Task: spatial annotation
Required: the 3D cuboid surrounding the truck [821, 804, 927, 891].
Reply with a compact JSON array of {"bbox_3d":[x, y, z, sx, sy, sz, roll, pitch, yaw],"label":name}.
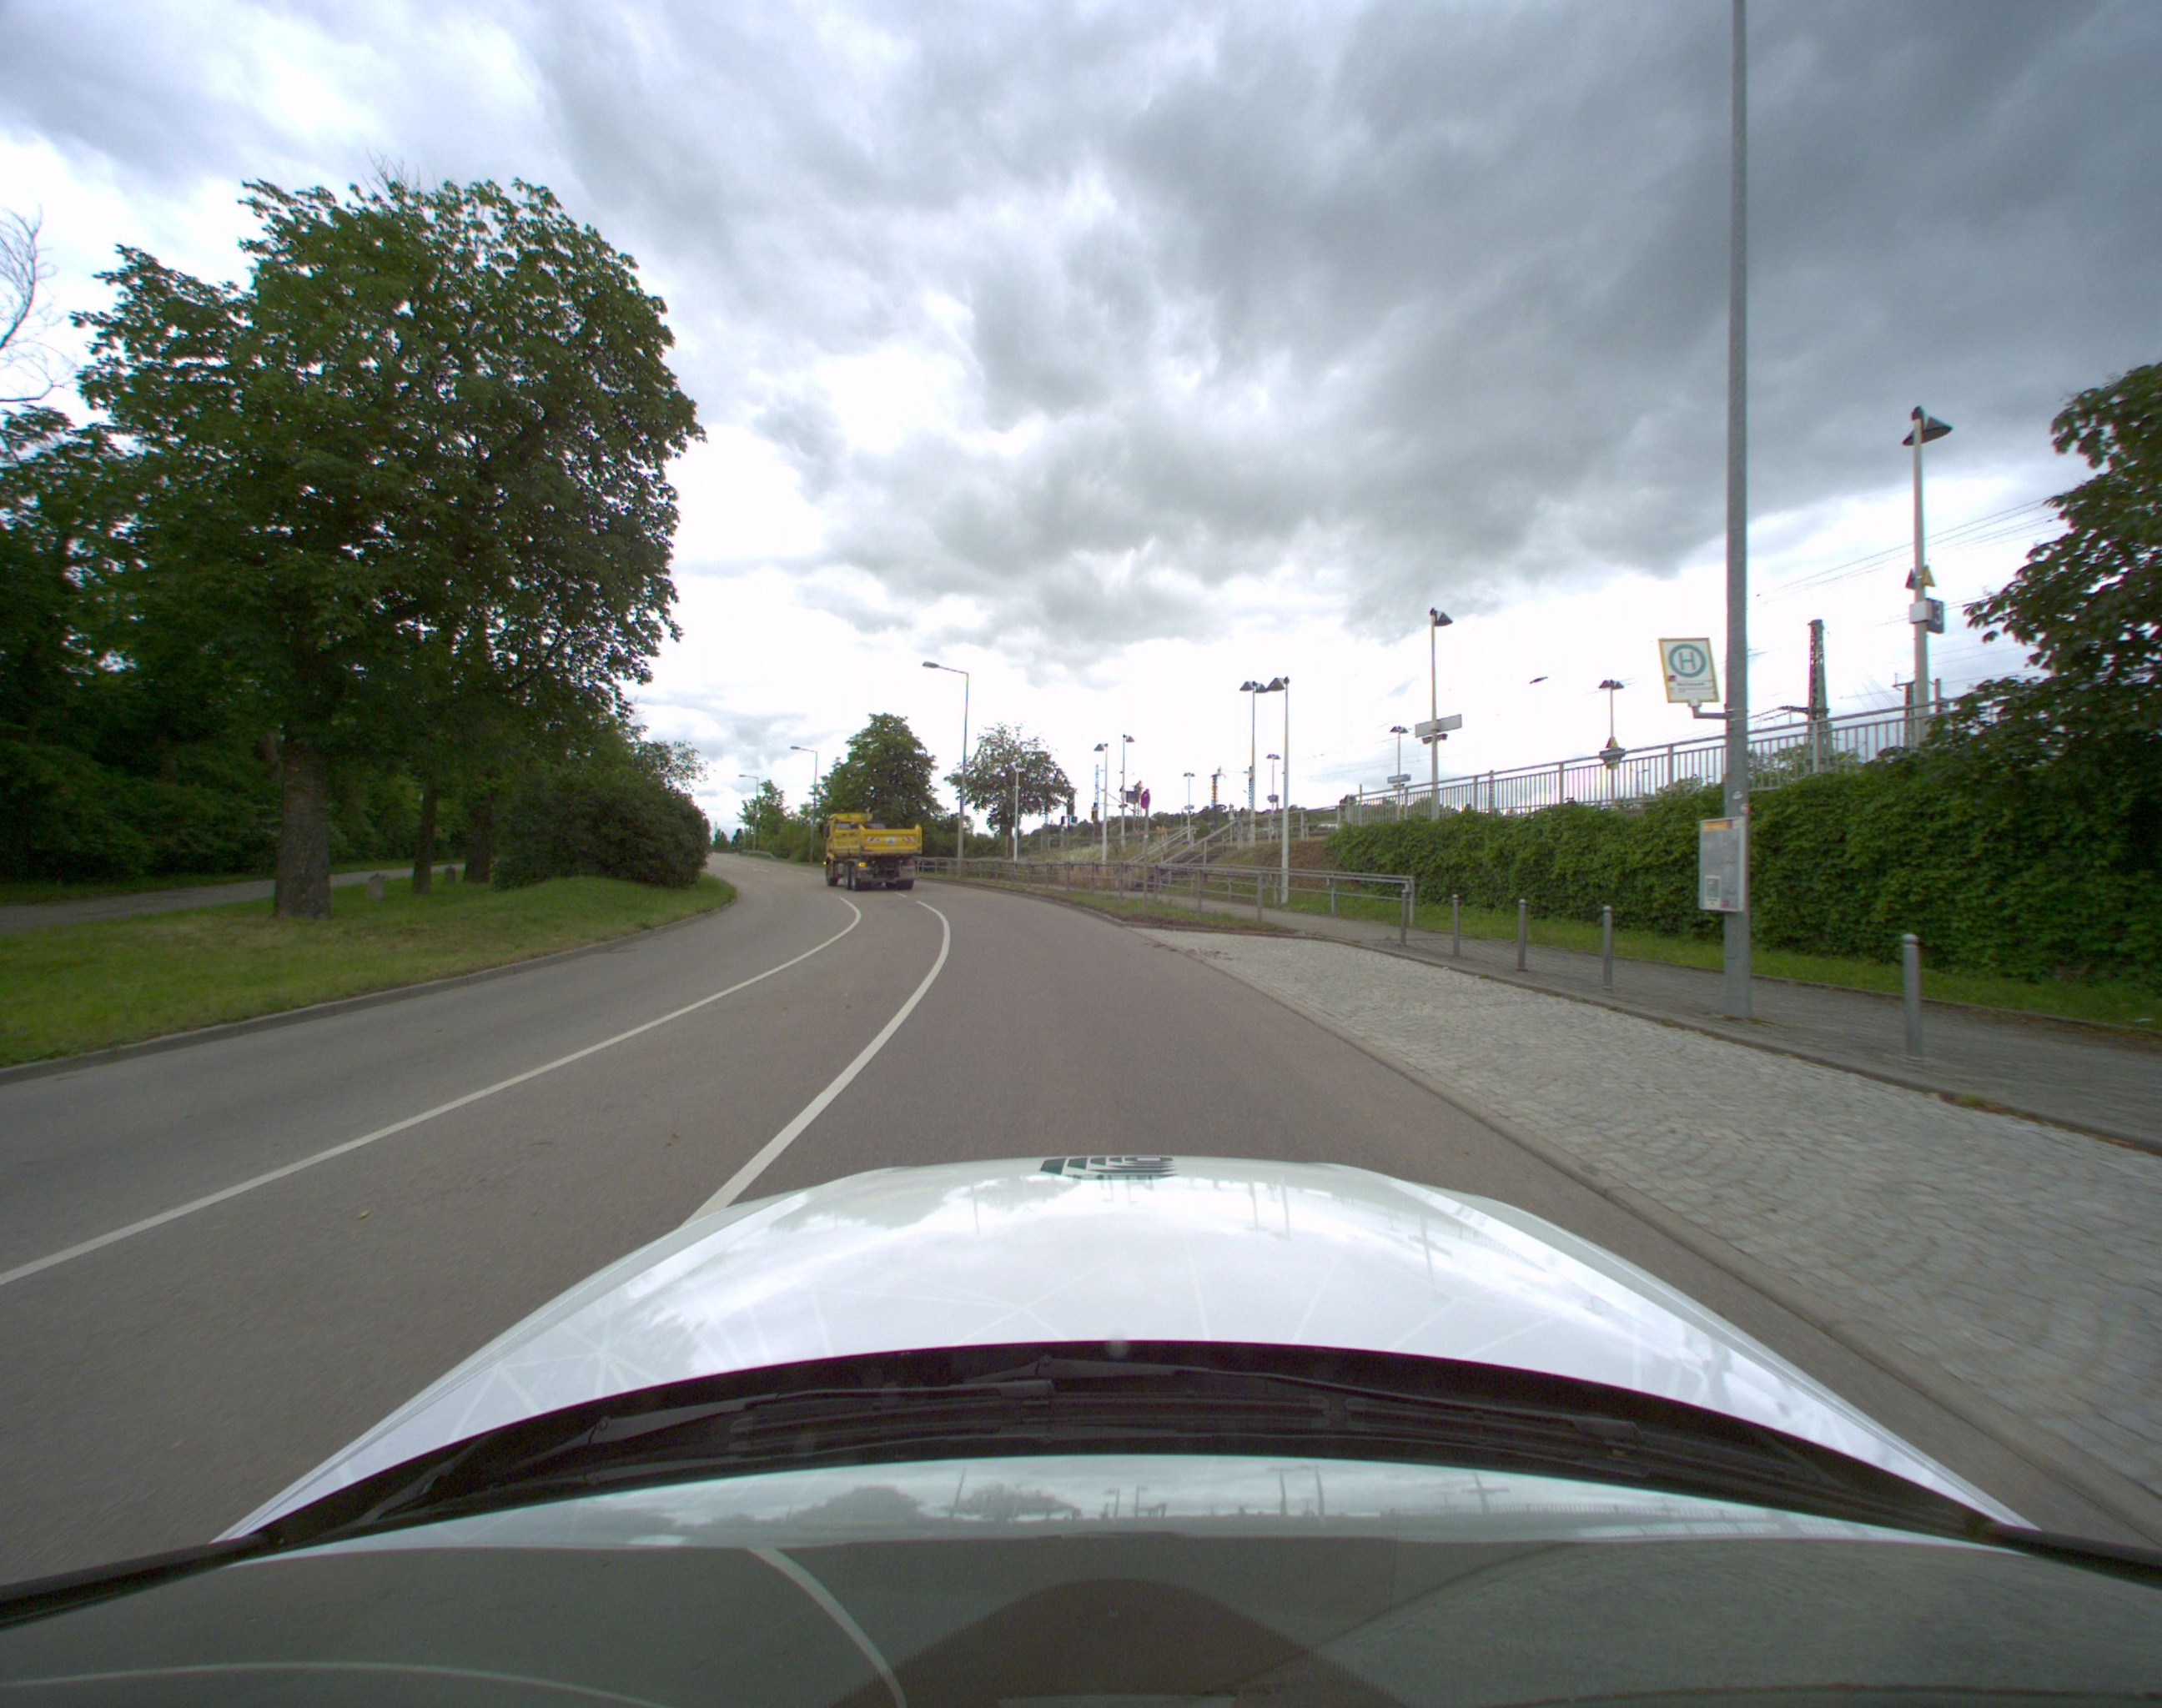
[{"bbox_3d":[-9.498,-0.321,36.566,2.781,3.483,8.055,0,1,-28],"label":"truck"}]
